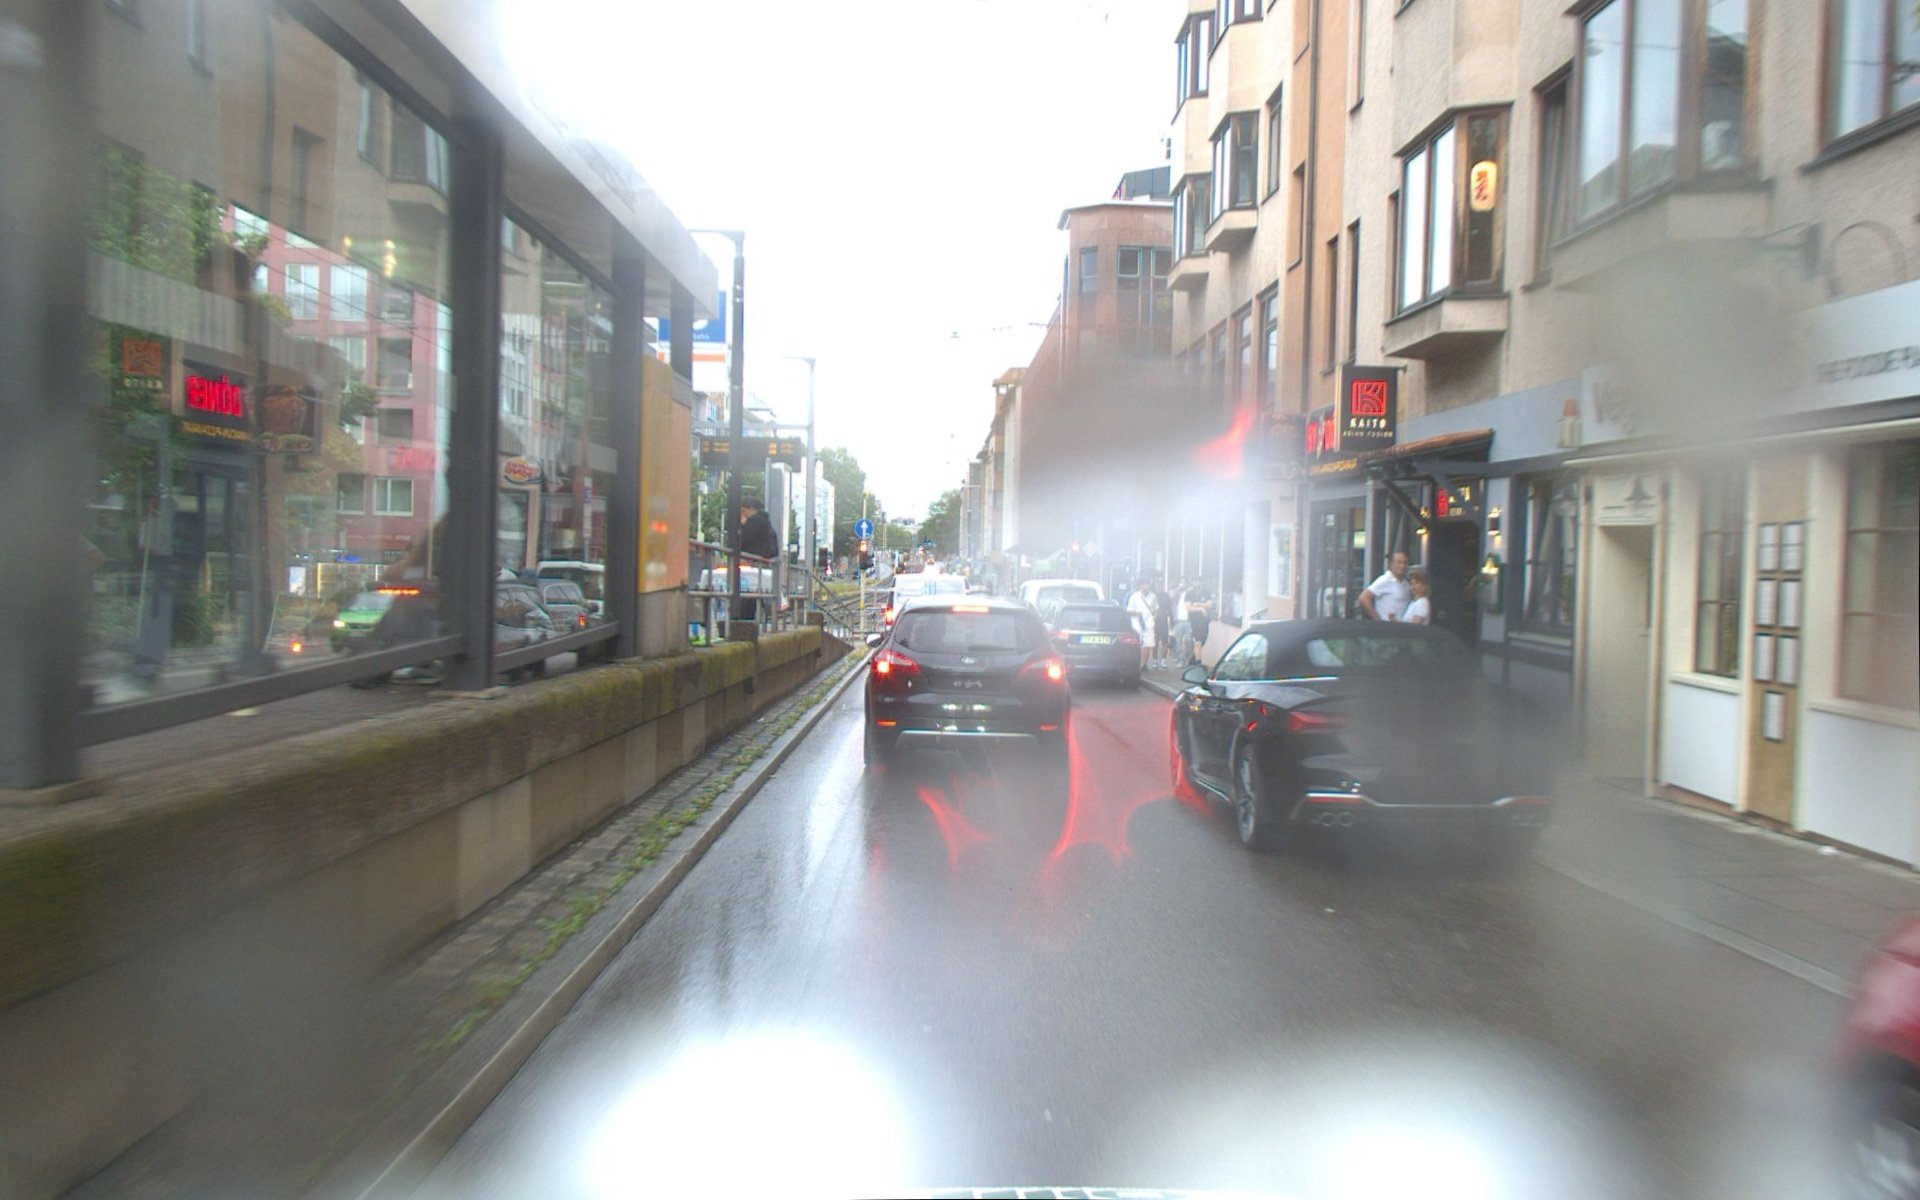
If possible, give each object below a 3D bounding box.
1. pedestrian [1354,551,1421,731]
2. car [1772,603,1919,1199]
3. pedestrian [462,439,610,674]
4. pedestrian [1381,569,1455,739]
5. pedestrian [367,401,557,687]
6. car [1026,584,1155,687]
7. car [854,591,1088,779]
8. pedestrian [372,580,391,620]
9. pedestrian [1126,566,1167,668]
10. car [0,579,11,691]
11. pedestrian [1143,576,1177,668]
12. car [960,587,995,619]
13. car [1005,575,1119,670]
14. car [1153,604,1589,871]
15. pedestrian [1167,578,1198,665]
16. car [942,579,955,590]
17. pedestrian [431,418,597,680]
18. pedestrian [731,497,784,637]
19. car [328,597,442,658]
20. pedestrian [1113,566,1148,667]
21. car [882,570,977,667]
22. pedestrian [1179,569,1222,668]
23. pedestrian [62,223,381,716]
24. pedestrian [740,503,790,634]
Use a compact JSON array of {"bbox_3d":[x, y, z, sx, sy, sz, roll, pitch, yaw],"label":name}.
[{"bbox_3d":[4.575,0.433,17.718,0.519,1.891,0.555,0,0,-9],"label":"pedestrian"},{"bbox_3d":[2.731,0.758,2.189,1.612,1.488,3.413,1,0,-1],"label":"car"},{"bbox_3d":[-2.475,-0.245,9.727,0.713,1.325,0.700,0,0,-3],"label":"pedestrian"},{"bbox_3d":[4.698,0.548,16.988,0.534,1.710,0.595,0,0,-9],"label":"pedestrian"},{"bbox_3d":[-2.390,-0.259,8.011,0.713,1.325,0.701,0,0,-2],"label":"pedestrian"},{"bbox_3d":[2.200,0.584,28.970,1.868,1.644,4.413,1,0,-1],"label":"car"},{"bbox_3d":[0.077,0.685,15.015,1.868,1.488,3.444,1,0,-1],"label":"car"},{"bbox_3d":[-24.377,0.008,69.674,0.540,1.660,0.567,2,0,-37],"label":"pedestrian"},{"bbox_3d":[3.499,0.319,31.071,0.681,1.887,0.652,0,0,0],"label":"pedestrian"},{"bbox_3d":[-14.833,0.499,22.254,1.605,1.652,4.370,1,0,-1],"label":"car"},{"bbox_3d":[3.840,0.416,31.790,0.598,1.744,0.581,0,0,0],"label":"pedestrian"},{"bbox_3d":[0.877,0.146,83.885,1.664,1.505,3.867,-1,0,0],"label":"car"},{"bbox_3d":[2.068,0.442,34.843,1.868,1.838,4.774,1,0,-3],"label":"car"},{"bbox_3d":[2.576,0.787,11.472,1.868,1.488,4.244,1,0,-2],"label":"car"},{"bbox_3d":[4.459,0.429,33.141,0.564,1.744,0.477,0,0,0],"label":"pedestrian"},{"bbox_3d":[-1.744,-2.367,254.736,1.867,1.662,4.573,1,0,0],"label":"car"},{"bbox_3d":[-2.338,-0.257,8.740,0.713,1.325,0.700,0,0,-3],"label":"pedestrian"},{"bbox_3d":[-2.412,-0.384,19.706,0.572,1.637,0.700,0,0,-3],"label":"pedestrian"},{"bbox_3d":[-13.668,0.629,39.518,1.606,1.361,3.732,1,0,-4],"label":"car"},{"bbox_3d":[3.365,0.329,32.720,0.638,1.982,0.533,0,0,0],"label":"pedestrian"},{"bbox_3d":[-0.629,0.375,35.185,1.868,1.897,4.573,1,0,-1],"label":"car"},{"bbox_3d":[4.544,0.354,31.274,0.740,1.851,0.588,0,0,0],"label":"pedestrian"},{"bbox_3d":[-2.755,-0.462,6.256,0.898,1.754,0.700,0,0,-4],"label":"pedestrian"},{"bbox_3d":[-2.399,-0.383,20.415,0.572,1.585,0.700,0,0,-3],"label":"pedestrian"}]
